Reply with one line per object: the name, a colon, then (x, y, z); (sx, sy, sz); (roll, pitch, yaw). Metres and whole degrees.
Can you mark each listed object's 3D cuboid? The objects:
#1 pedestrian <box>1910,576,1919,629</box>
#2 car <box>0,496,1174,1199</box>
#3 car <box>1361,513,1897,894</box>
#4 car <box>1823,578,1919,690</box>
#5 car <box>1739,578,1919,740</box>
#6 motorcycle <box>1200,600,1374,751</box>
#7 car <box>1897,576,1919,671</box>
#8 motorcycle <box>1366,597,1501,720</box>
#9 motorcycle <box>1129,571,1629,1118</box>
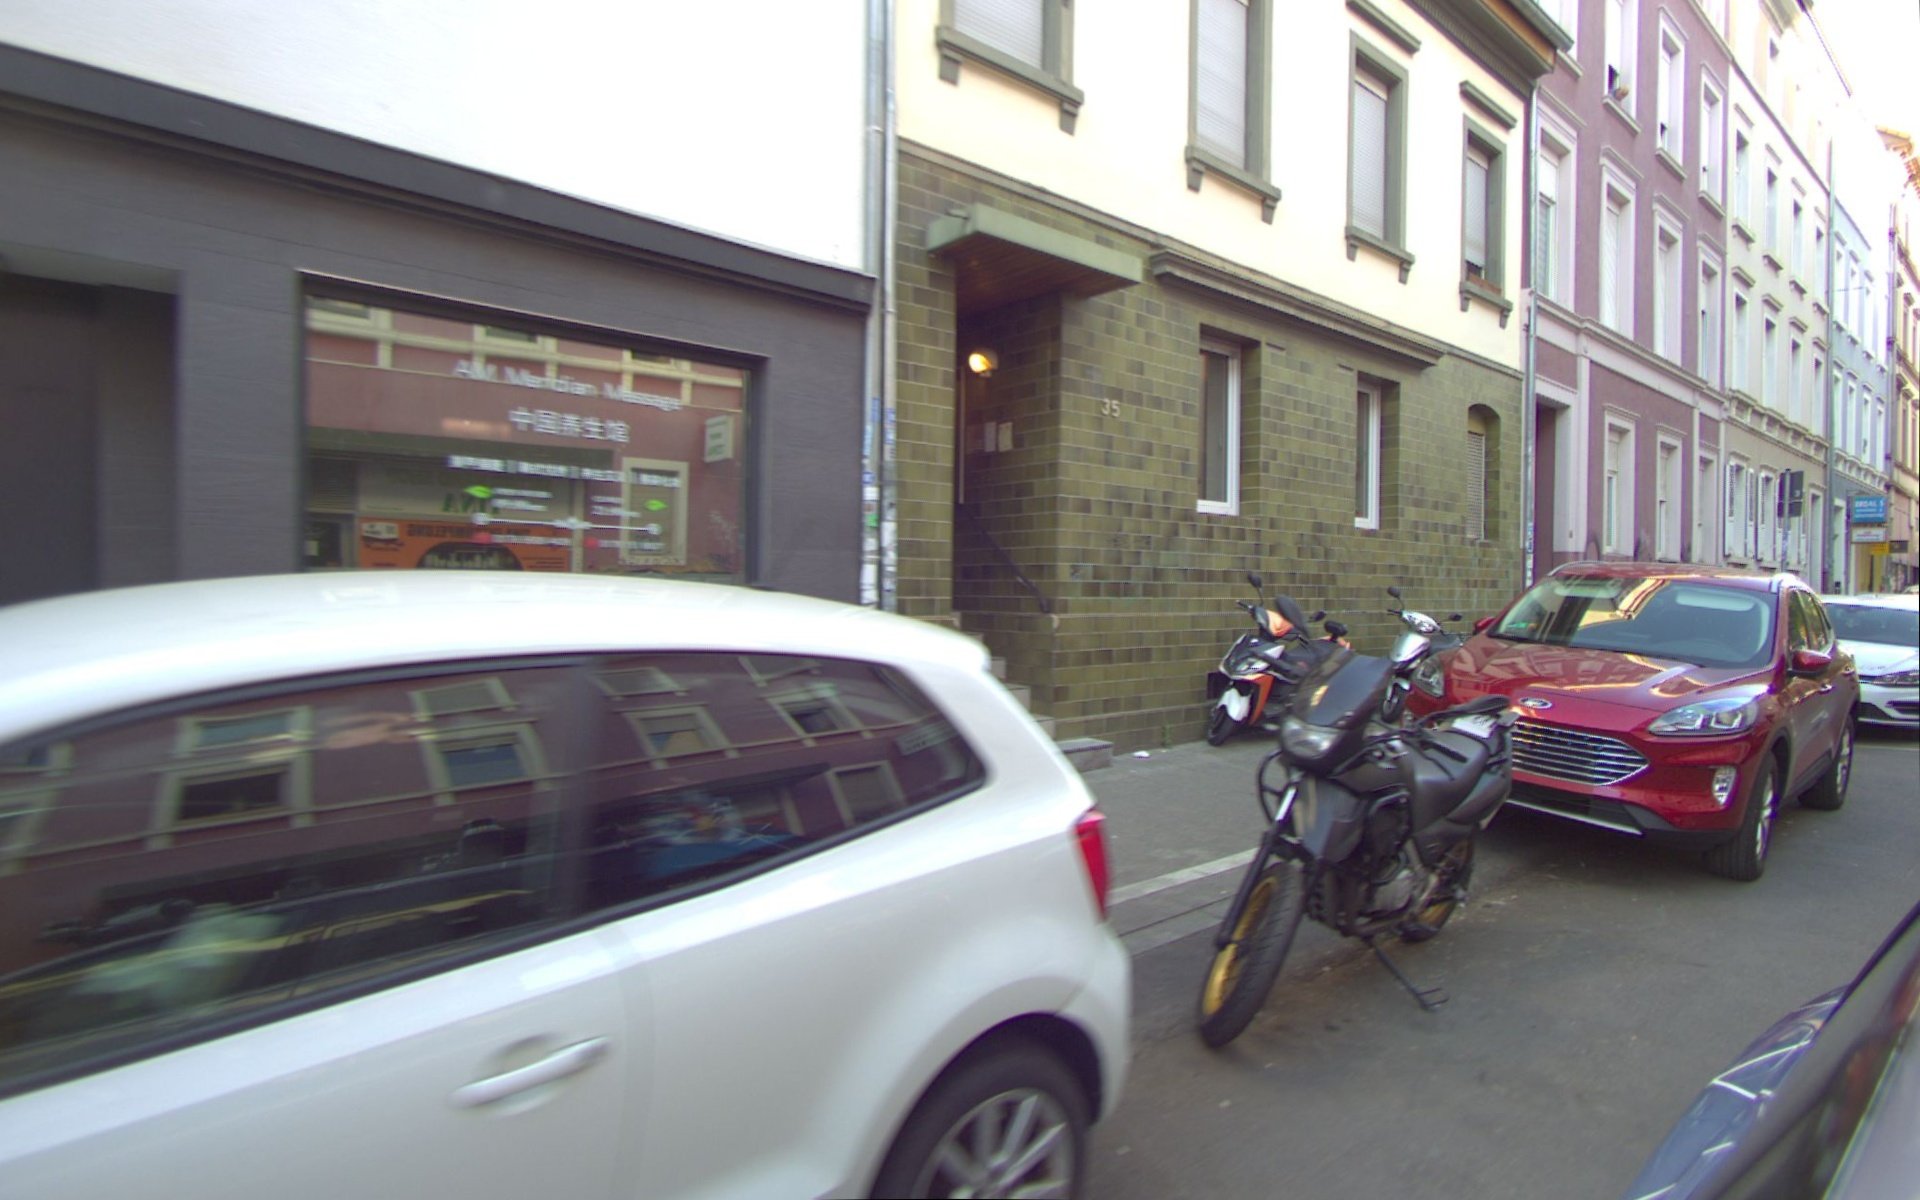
pedestrian: (32.514, 0.077, 34.089); (0.627, 1.762, 0.650); (-1, 0, 37)
car: (-1.521, 0.603, 1.674); (3.748, 1.523, 1.671); (-1, 4, -40)
car: (4.637, 0.450, 6.743); (4.290, 1.727, 1.921); (0, 0, -41)
car: (15.298, 0.460, 16.103); (4.549, 1.562, 1.700); (-1, 3, -41)
car: (10.666, 0.556, 11.842); (3.976, 1.562, 1.690); (-1, 3, -41)
motorcycle: (2.820, 0.585, 8.631); (1.846, 1.108, 0.502); (-1, 4, -41)
car: (18.967, 0.394, 19.070); (3.497, 1.733, 1.559); (-1, 0, -41)
motorcycle: (4.869, 0.556, 10.362); (1.745, 1.108, 0.559); (-1, 4, -41)
motorcycle: (1.713, 0.655, 3.851); (2.379, 1.509, 0.748); (-1, 0, -41)
